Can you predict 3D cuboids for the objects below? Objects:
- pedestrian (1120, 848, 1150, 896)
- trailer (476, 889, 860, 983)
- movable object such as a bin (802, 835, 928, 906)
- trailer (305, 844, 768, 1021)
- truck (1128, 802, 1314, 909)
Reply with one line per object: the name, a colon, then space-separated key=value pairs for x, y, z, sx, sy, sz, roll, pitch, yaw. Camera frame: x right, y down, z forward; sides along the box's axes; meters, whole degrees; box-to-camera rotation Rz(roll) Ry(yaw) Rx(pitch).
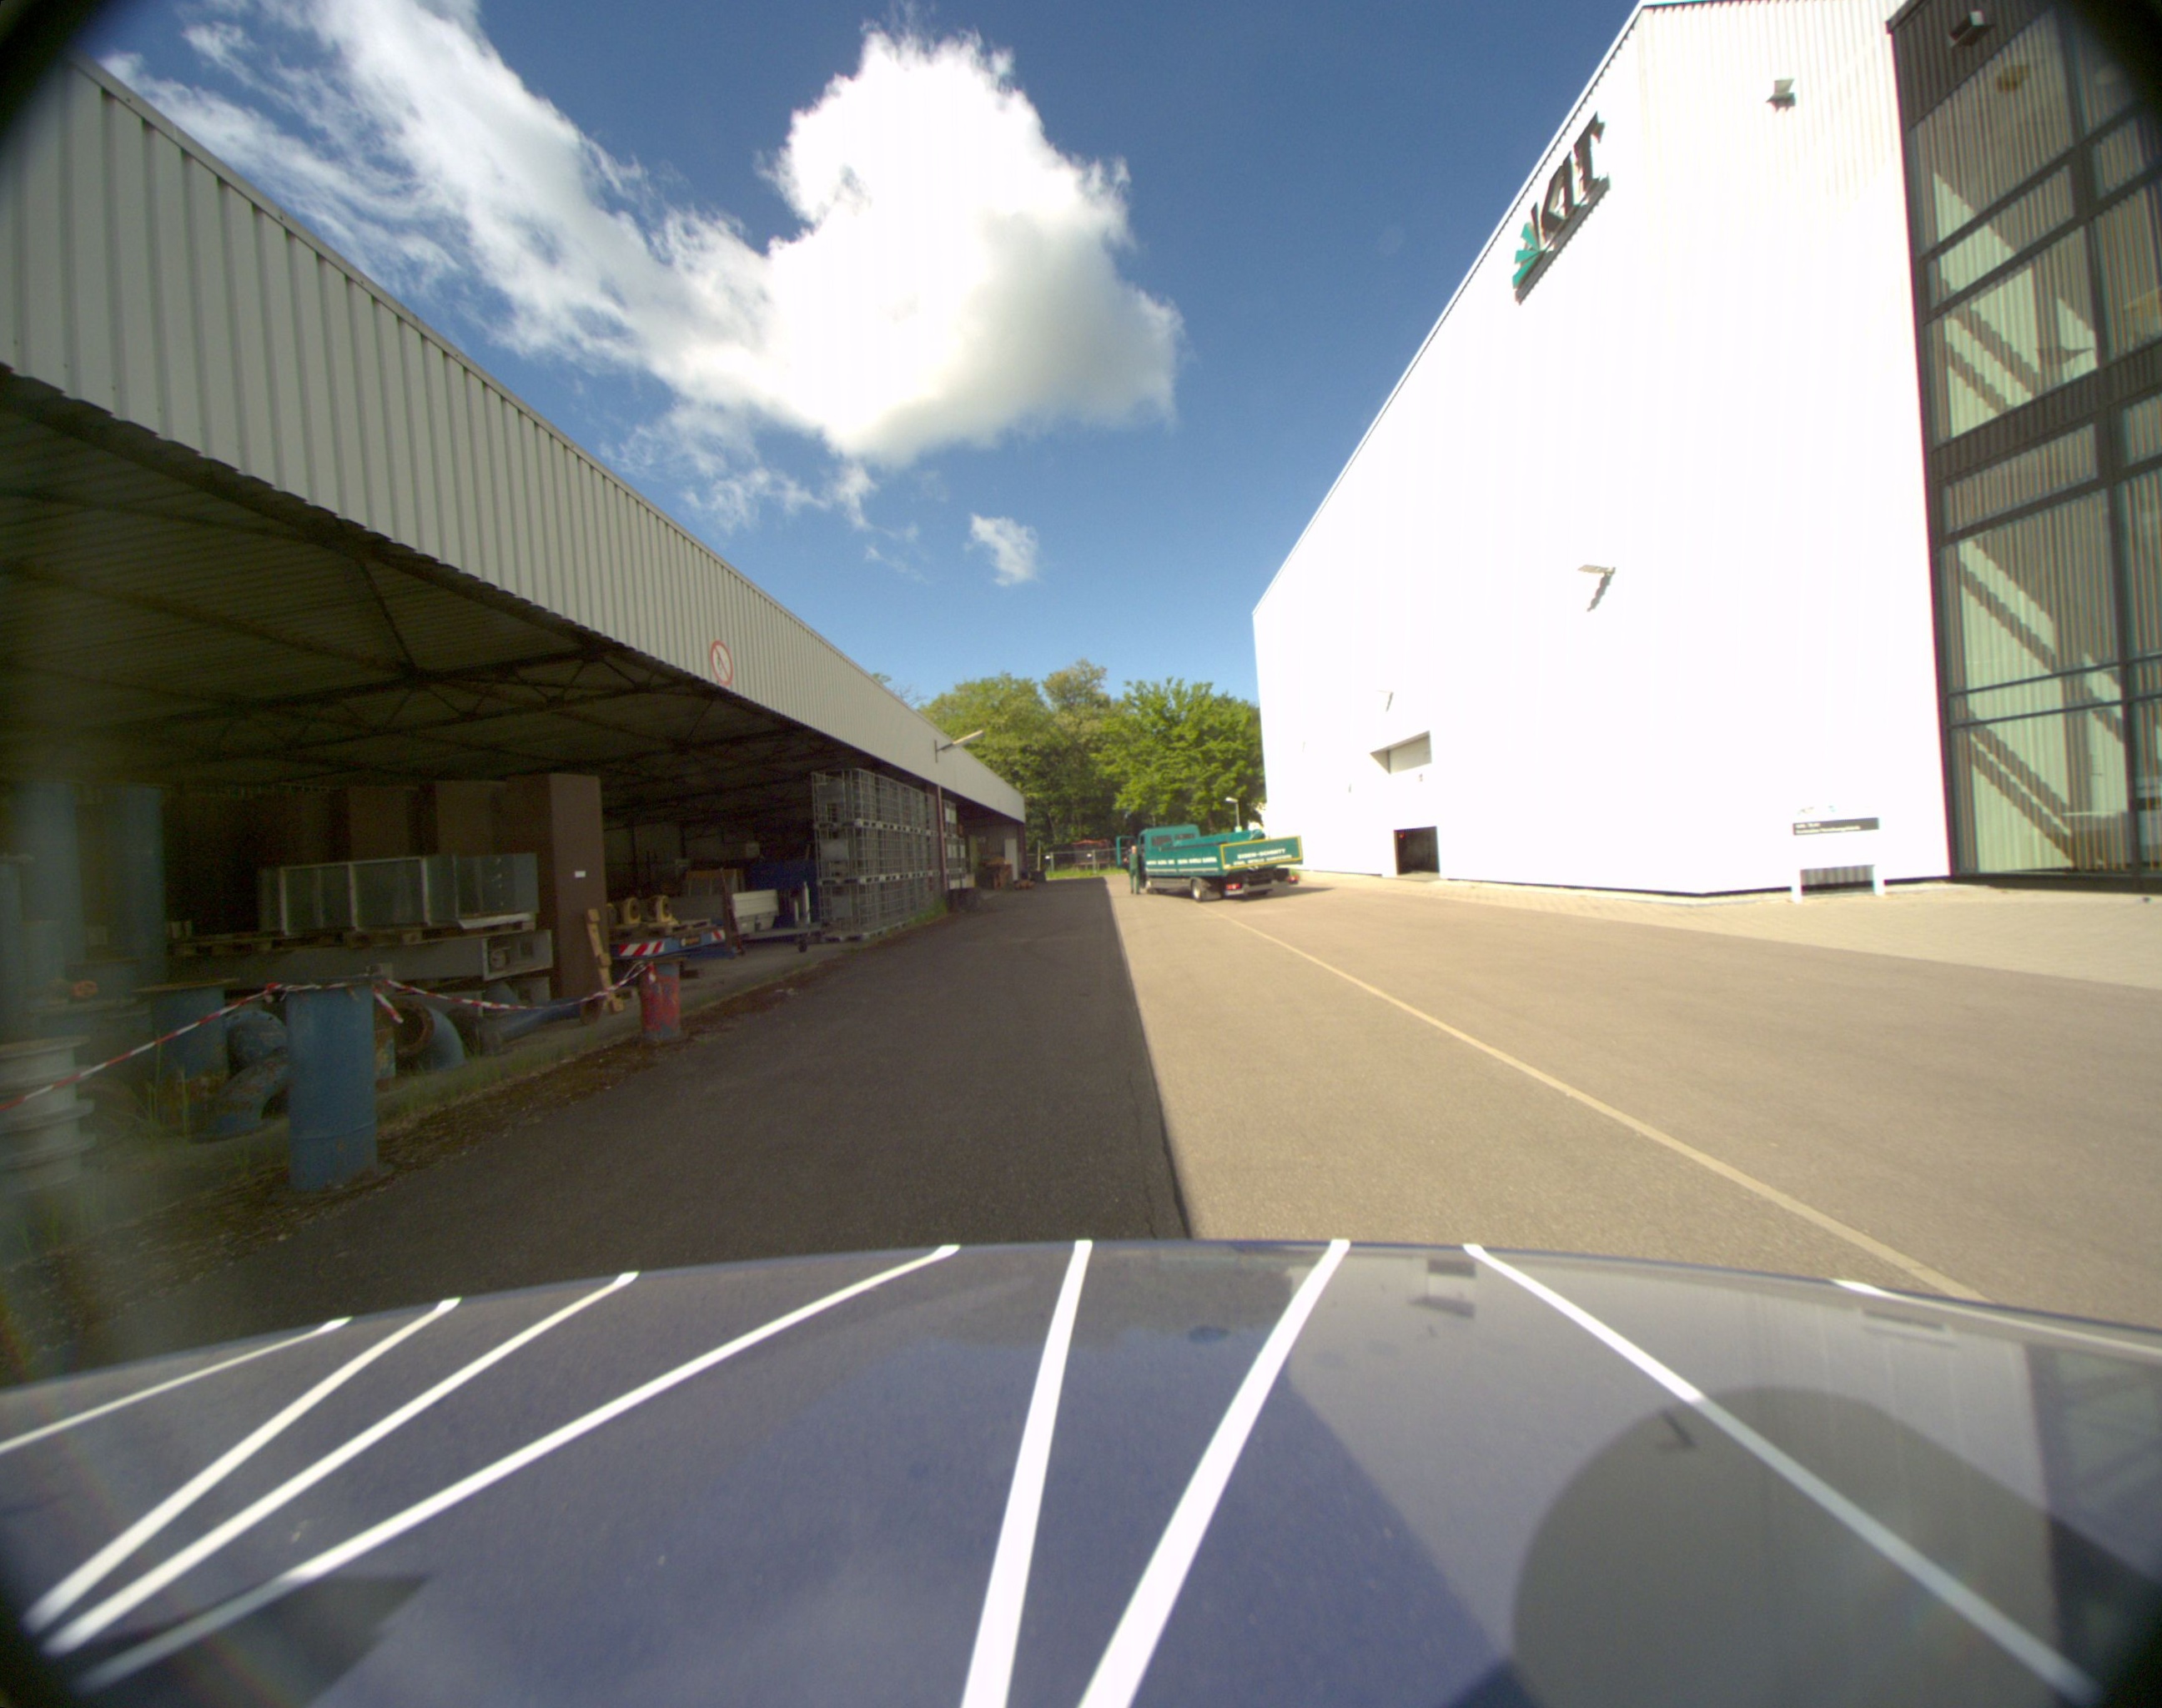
pedestrian: x=2.092 y=0.676 z=29.239 sx=0.893 sy=1.792 sz=1.041 roll=-2 pitch=1 yaw=17
trailer: x=-7.184 y=1.420 z=13.674 sx=5.748 sy=1.126 sz=2.009 roll=-3 pitch=0 yaw=0
movable object such as a bin: x=-9.040 y=0.692 z=32.046 sx=4.626 sy=2.706 sz=2.000 roll=-3 pitch=-1 yaw=0
trailer: x=-7.137 y=0.973 z=10.334 sx=4.828 sy=1.985 sz=2.047 roll=-3 pitch=1 yaw=4
truck: x=4.210 y=0.126 z=25.879 sx=2.589 sy=2.701 sz=9.687 roll=-7 pitch=0 yaw=-11
